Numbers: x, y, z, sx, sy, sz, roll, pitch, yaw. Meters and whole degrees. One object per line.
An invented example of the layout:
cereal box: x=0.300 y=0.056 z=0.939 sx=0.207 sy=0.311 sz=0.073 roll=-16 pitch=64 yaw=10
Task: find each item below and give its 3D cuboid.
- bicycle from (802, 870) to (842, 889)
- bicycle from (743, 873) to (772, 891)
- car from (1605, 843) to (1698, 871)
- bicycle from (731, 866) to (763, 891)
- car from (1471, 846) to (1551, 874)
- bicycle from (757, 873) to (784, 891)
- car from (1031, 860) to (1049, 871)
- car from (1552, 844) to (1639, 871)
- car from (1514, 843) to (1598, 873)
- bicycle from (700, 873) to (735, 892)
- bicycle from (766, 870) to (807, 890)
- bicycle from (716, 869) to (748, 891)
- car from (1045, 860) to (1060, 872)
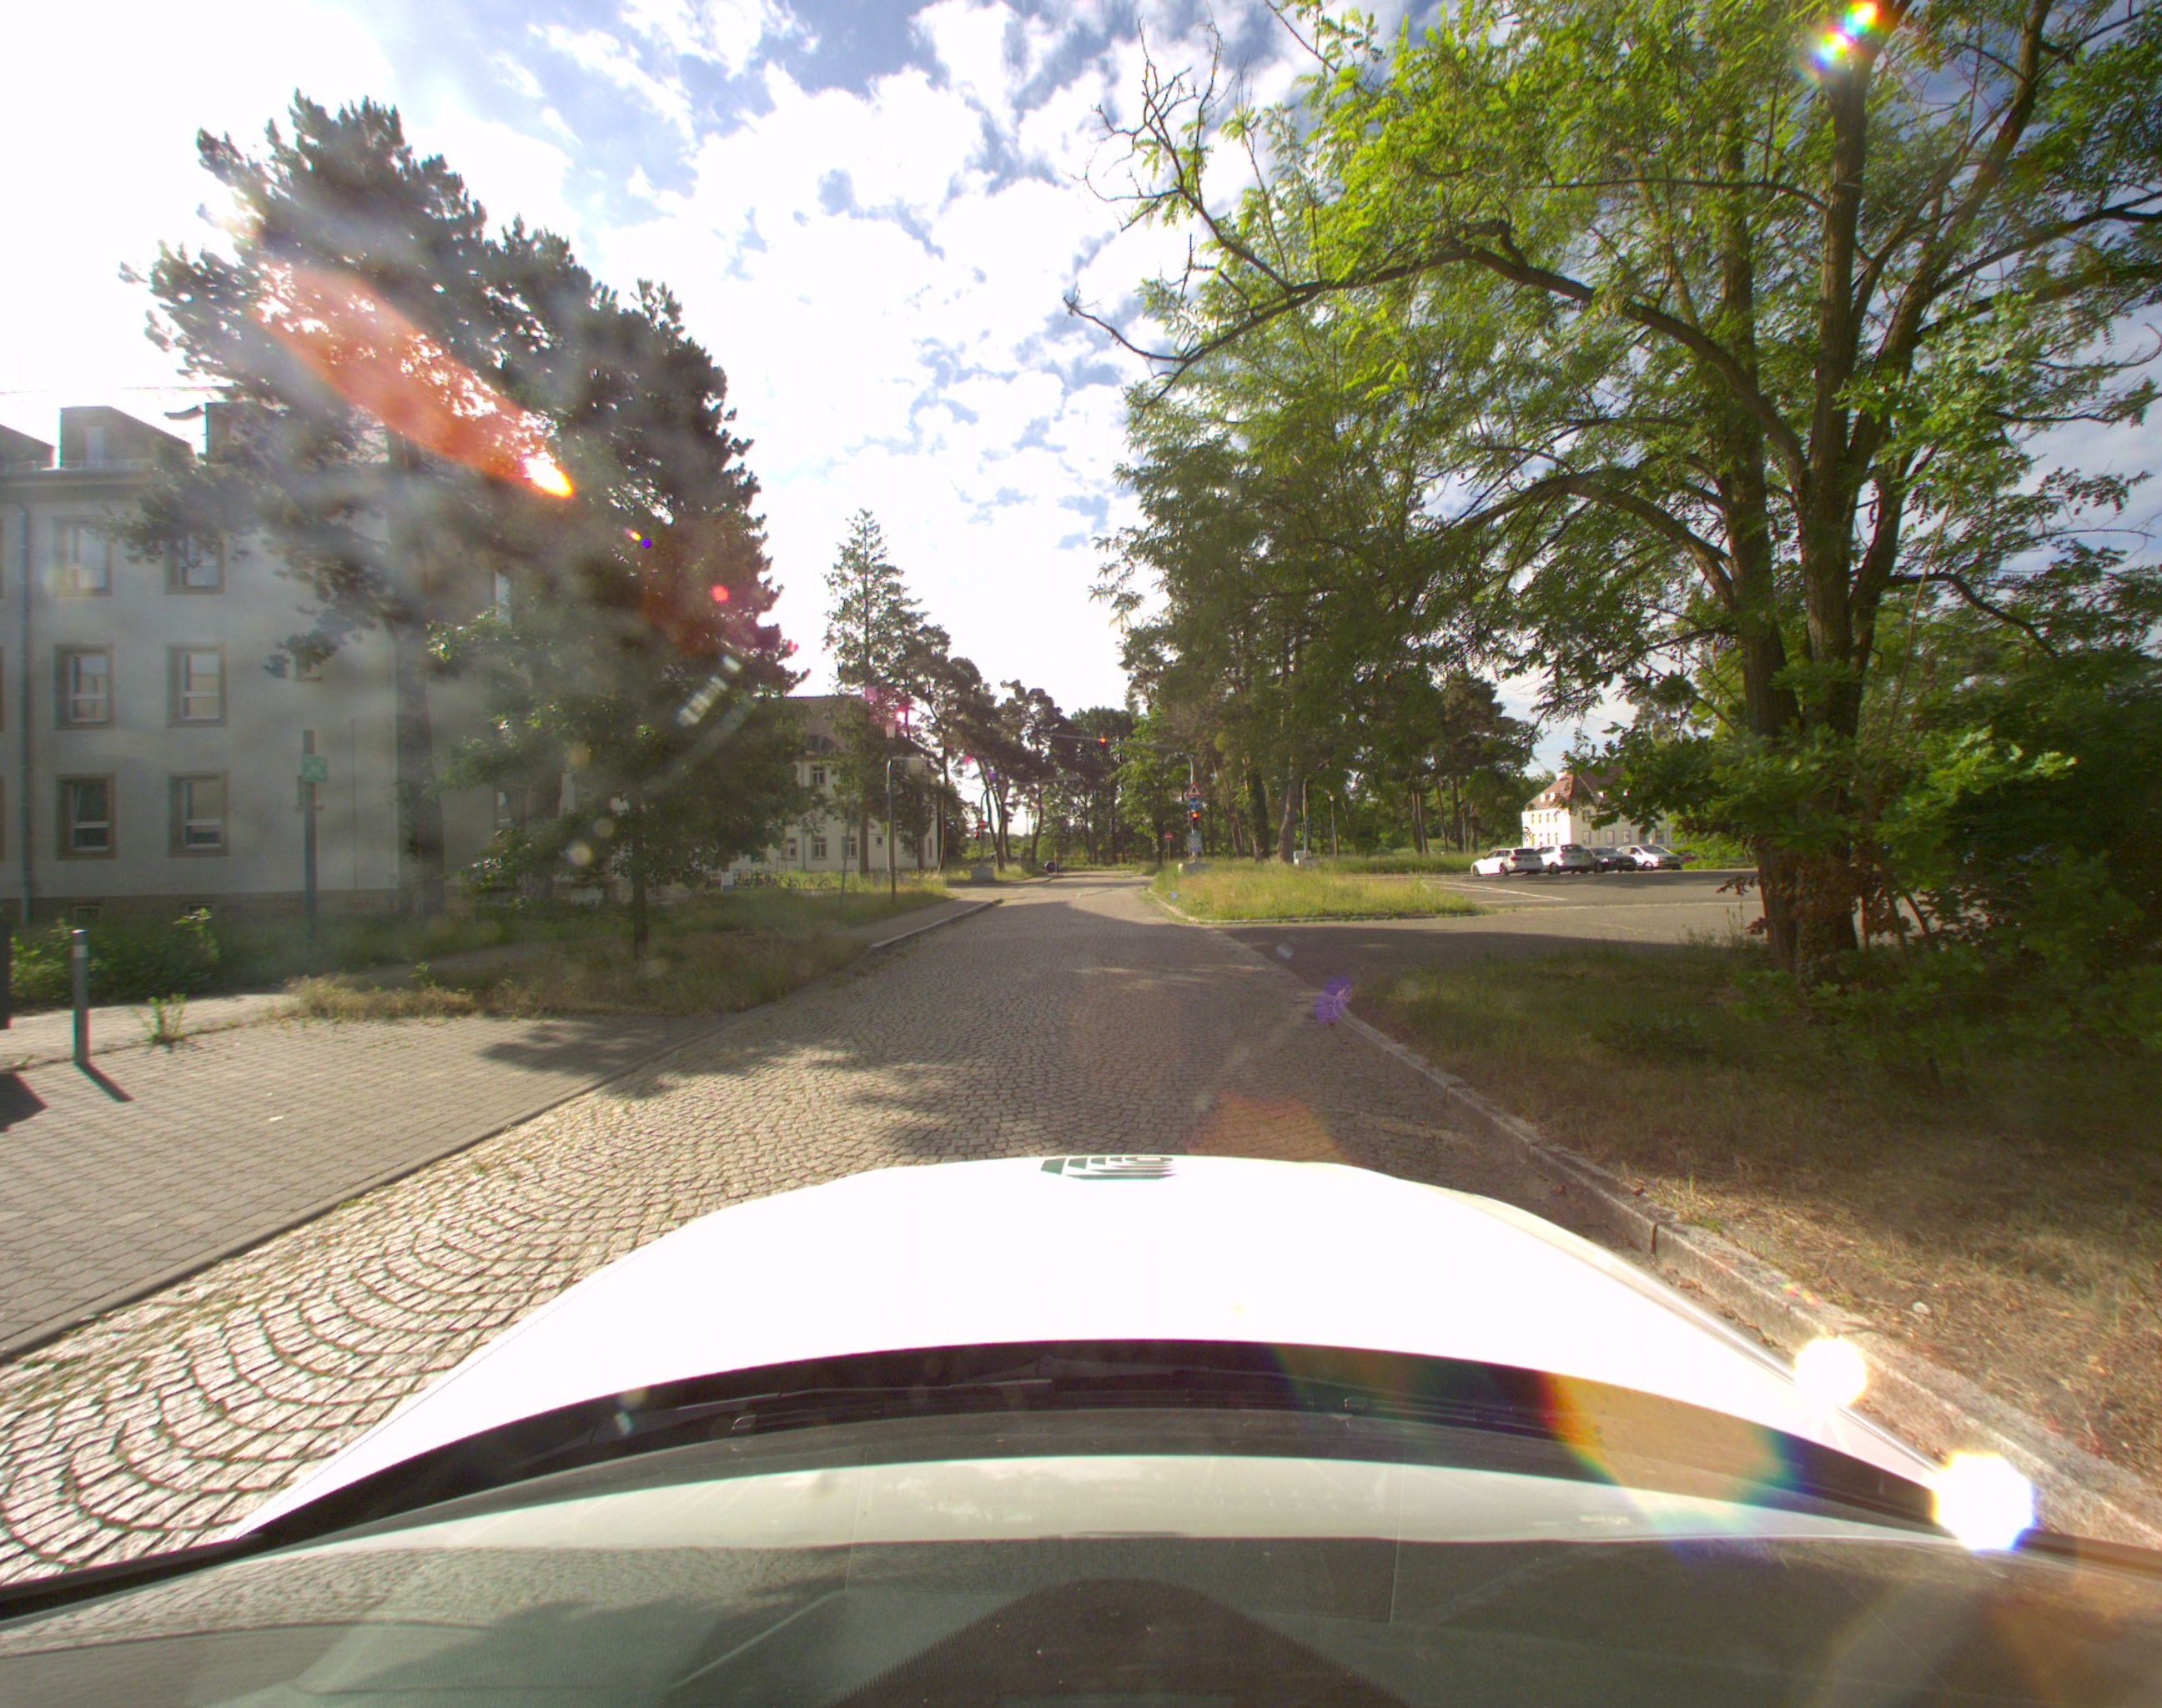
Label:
bicycle: x=-15.510 y=1.550 z=48.832 sx=2.112 sy=1.047 sz=0.828 roll=-2 pitch=-1 yaw=-3
bicycle: x=-19.837 y=1.707 z=49.976 sx=0.823 sy=1.047 sz=2.124 roll=-2 pitch=0 yaw=1
car: x=30.053 y=0.163 z=43.080 sx=1.726 sy=1.312 sz=4.328 roll=-2 pitch=0 yaw=-2
bicycle: x=-20.624 y=1.504 z=50.325 sx=0.823 sy=1.437 sz=2.554 roll=-2 pitch=0 yaw=1
car: x=22.179 y=0.304 z=42.247 sx=1.726 sy=1.312 sz=4.328 roll=-2 pitch=0 yaw=-2
bicycle: x=-19.055 y=1.704 z=50.013 sx=0.823 sy=1.047 sz=2.124 roll=-2 pitch=0 yaw=1
car: x=-5.581 y=1.579 z=110.977 sx=1.772 sy=1.490 sz=3.764 roll=-2 pitch=0 yaw=8
car: x=26.999 y=0.198 z=42.910 sx=1.726 sy=1.312 sz=4.328 roll=-2 pitch=0 yaw=-2
car: x=24.698 y=0.209 z=42.536 sx=1.726 sy=1.476 sz=4.328 roll=-2 pitch=0 yaw=-2
bicycle: x=-22.297 y=1.716 z=50.034 sx=0.897 sy=1.047 sz=2.554 roll=-2 pitch=0 yaw=1
bicycle: x=-17.632 y=1.559 z=48.753 sx=2.112 sy=1.108 sz=0.828 roll=-2 pitch=-1 yaw=-3
bicycle: x=-21.400 y=1.596 z=50.028 sx=0.823 sy=1.281 sz=2.554 roll=-2 pitch=0 yaw=1
car: x=-3.667 y=1.518 z=106.191 sx=1.840 sy=1.486 sz=3.998 roll=-2 pitch=0 yaw=-1
